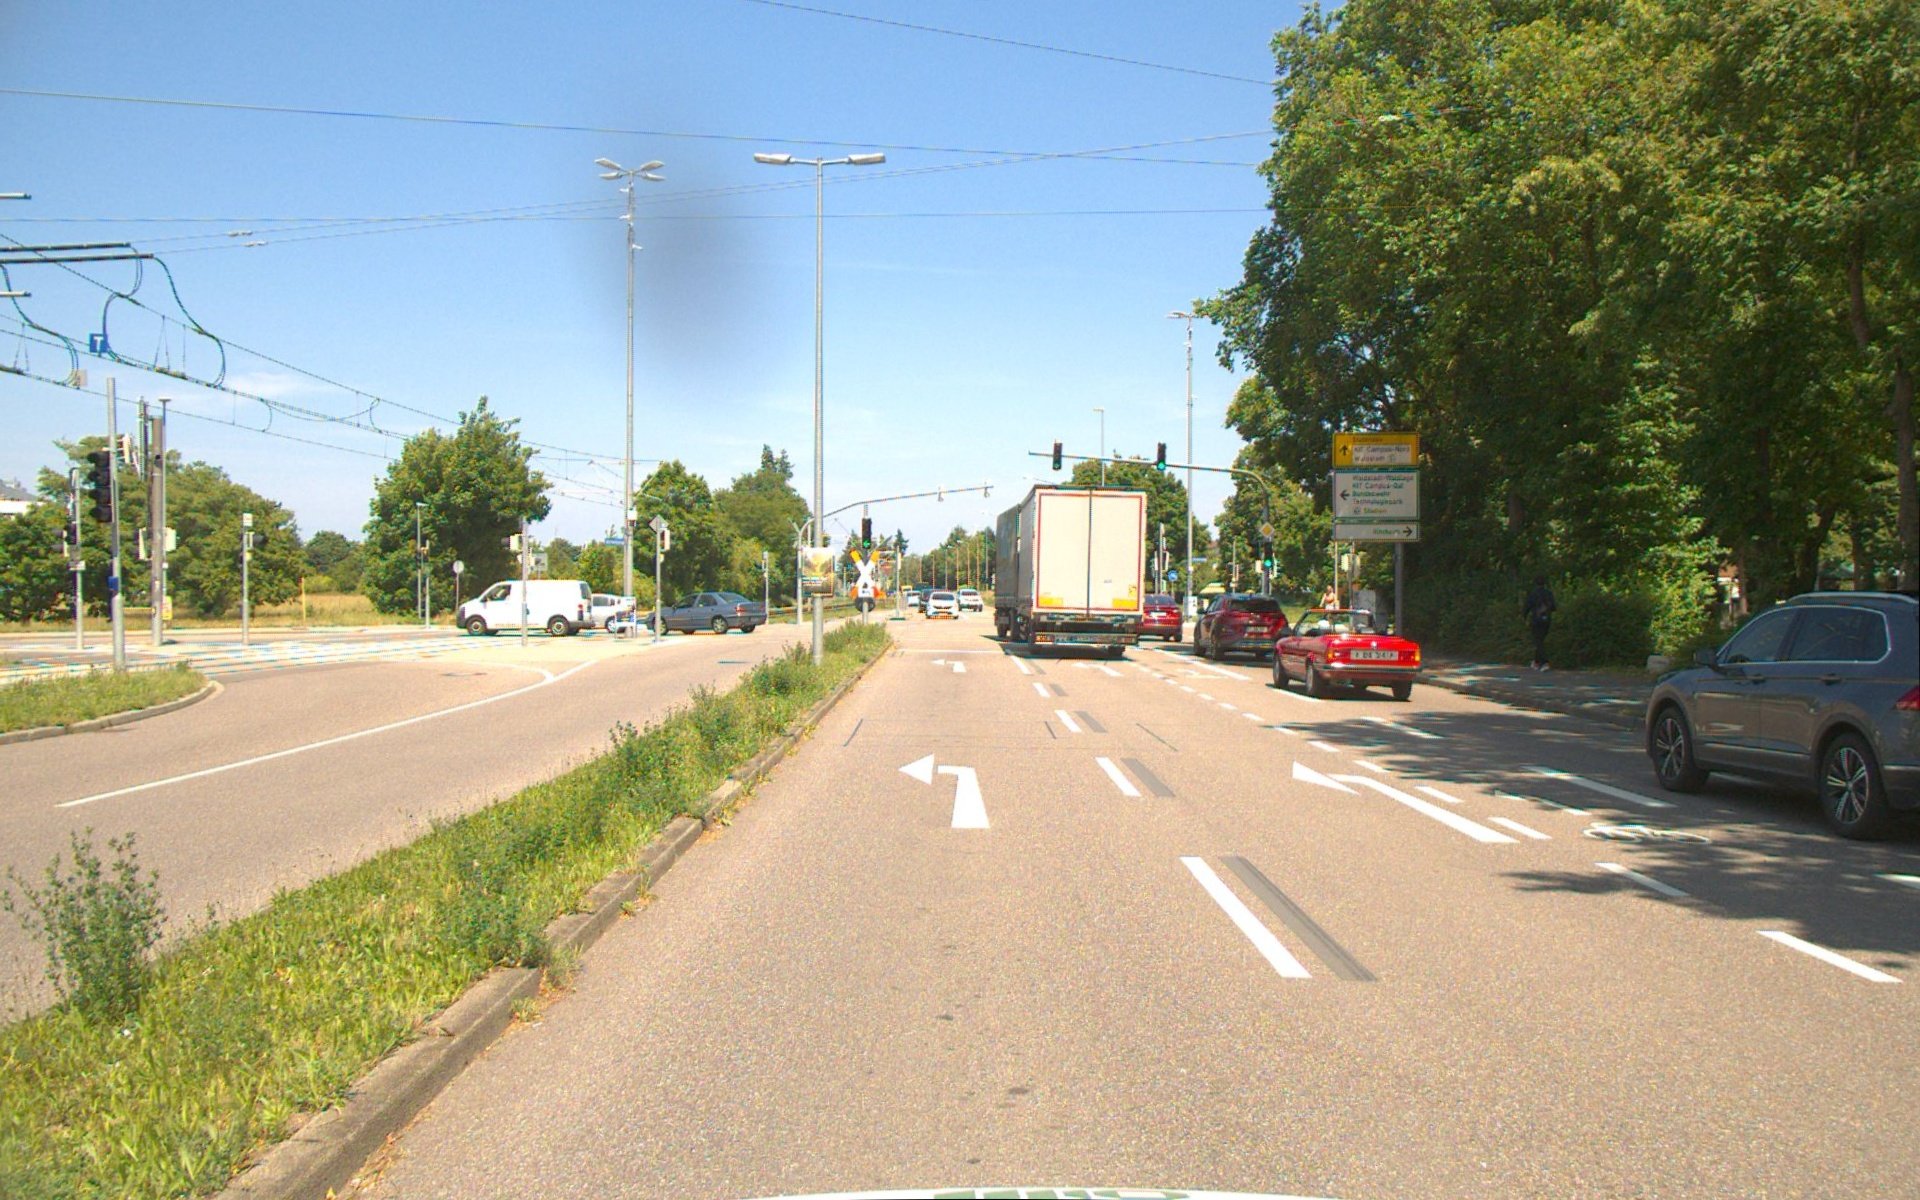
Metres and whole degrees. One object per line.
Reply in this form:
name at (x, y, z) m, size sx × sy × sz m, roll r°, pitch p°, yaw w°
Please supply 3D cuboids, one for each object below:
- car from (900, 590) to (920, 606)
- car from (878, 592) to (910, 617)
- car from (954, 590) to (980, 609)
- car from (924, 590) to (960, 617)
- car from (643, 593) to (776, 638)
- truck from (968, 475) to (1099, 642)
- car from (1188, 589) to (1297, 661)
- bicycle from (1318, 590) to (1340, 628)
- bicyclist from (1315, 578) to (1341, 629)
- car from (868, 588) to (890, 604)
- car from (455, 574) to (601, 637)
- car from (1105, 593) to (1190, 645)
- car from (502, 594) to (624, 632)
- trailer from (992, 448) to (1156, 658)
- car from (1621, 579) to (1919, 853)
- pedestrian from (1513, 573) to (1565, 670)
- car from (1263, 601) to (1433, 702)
car at (-4.615, -0.195, 153.592) m, size 1.820 × 1.396 × 4.155 m, roll 2°, pitch 0°, yaw -2°
car at (-3.912, 0.252, 98.801) m, size 1.820 × 1.396 × 4.155 m, roll 2°, pitch 0°, yaw -2°
car at (0.535, -0.042, 124.675) m, size 1.820 × 1.396 × 4.155 m, roll 2°, pitch 0°, yaw -2°
car at (-1.002, 0.181, 89.600) m, size 1.820 × 1.396 × 4.155 m, roll 2°, pitch 0°, yaw -2°
car at (-8.594, 0.495, 56.749) m, size 4.335 × 1.395 × 1.894 m, roll 1°, pitch 1°, yaw 32°
truck at (2.016, -1.209, 48.931) m, size 2.771 × 4.419 × 8.278 m, roll 2°, pitch 1°, yaw -4°
car at (6.755, 0.560, 39.896) m, size 1.820 × 1.576 × 3.886 m, roll 1°, pitch 0°, yaw -2°
bicycle at (13.087, 0.309, 58.665) m, size 0.630 × 1.327 × 1.627 m, roll -2°, pitch 0°, yaw 10°
bicyclist at (13.000, 0.111, 58.459) m, size 0.785 × 1.757 × 0.679 m, roll -2°, pitch 0°, yaw 10°
car at (-7.304, -0.394, 149.059) m, size 1.820 × 1.396 × 4.155 m, roll 2°, pitch 0°, yaw -2°
car at (-15.437, 0.192, 59.236) m, size 4.633 × 2.148 × 2.001 m, roll 1°, pitch 1°, yaw 3°
car at (5.982, 0.579, 53.258) m, size 1.954 × 1.529 × 4.499 m, roll 0°, pitch 1°, yaw -4°
car at (-15.269, 0.488, 63.571) m, size 4.352 × 1.395 × 1.887 m, roll 0°, pitch 1°, yaw -22°
trailer at (2.570, -1.068, 40.397) m, size 2.771 × 4.498 × 8.743 m, roll 1°, pitch 0°, yaw -4°
car at (6.697, 0.713, 12.315) m, size 1.665 × 1.683 × 4.397 m, roll 1°, pitch 0°, yaw -2°
pedestrian at (11.163, 0.402, 31.922) m, size 0.738 × 1.847 × 0.693 m, roll -1°, pitch 0°, yaw -2°
car at (6.208, 0.771, 26.930) m, size 1.621 × 1.421 × 4.266 m, roll 1°, pitch 0°, yaw -2°
